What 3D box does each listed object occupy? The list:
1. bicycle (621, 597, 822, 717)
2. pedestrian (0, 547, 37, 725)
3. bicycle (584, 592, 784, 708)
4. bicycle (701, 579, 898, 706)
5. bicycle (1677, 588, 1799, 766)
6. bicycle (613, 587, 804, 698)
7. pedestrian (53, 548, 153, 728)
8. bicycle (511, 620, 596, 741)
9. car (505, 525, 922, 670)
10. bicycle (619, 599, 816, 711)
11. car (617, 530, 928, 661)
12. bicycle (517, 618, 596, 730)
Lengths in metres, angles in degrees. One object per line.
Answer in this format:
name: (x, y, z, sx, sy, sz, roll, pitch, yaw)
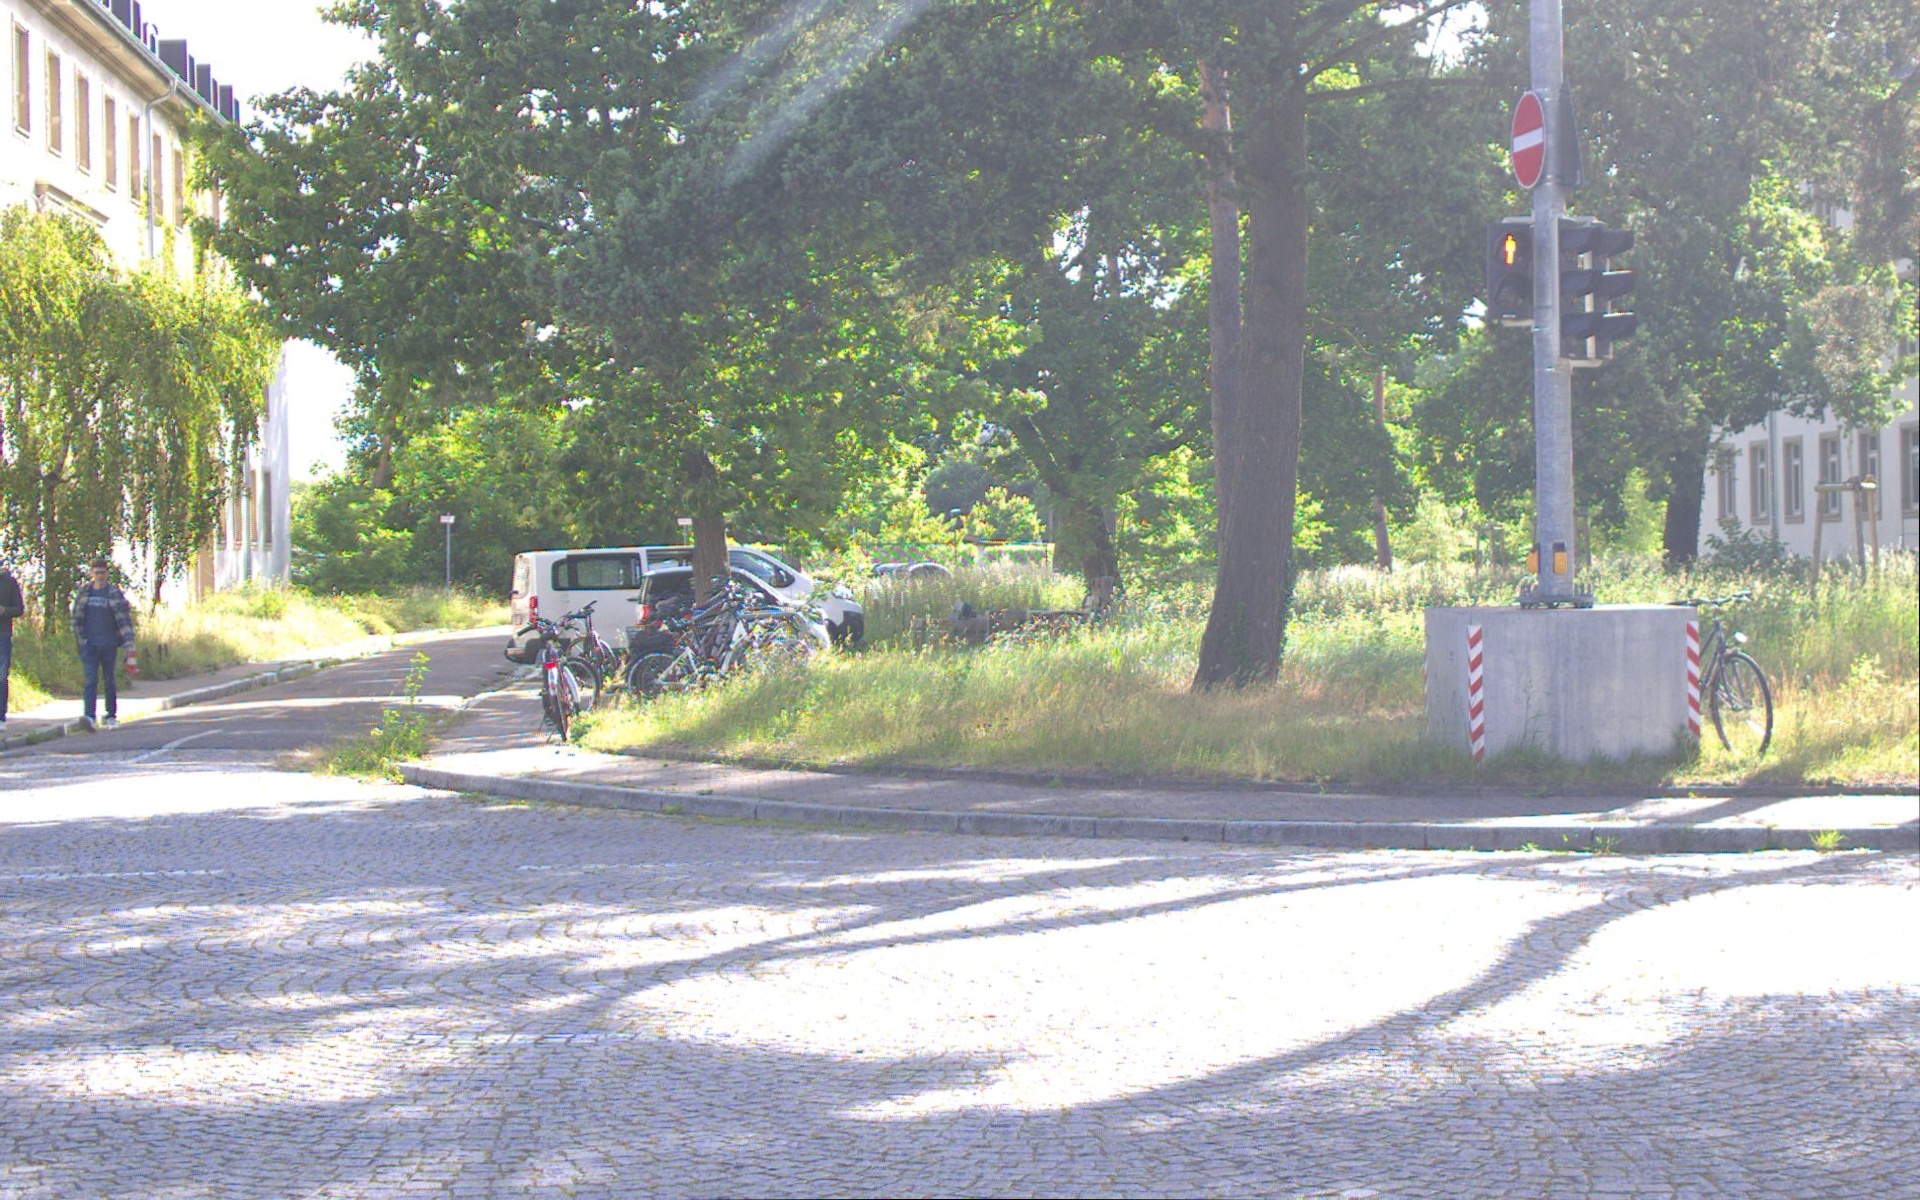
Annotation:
bicycle: (-2.372, 0.557, 34.065, 1.940, 1.125, 0.750, -1, 1, -7)
pedestrian: (-9.989, 0.368, 35.276, 0.812, 1.811, 0.555, -1, 1, 7)
bicycle: (-2.823, 0.504, 35.250, 1.941, 1.125, 0.648, -1, 1, -31)
bicycle: (-1.628, 0.423, 34.809, 1.940, 1.231, 0.485, -1, 1, -7)
bicycle: (4.869, 0.466, 21.562, 0.466, 1.076, 1.174, -1, 0, -1)
bicycle: (-2.664, 0.443, 36.361, 1.940, 1.125, 0.648, -1, 1, -9)
pedestrian: (-8.777, 0.384, 35.211, 0.767, 1.811, 0.682, -1, 1, 7)
bicycle: (-3.499, 0.678, 29.707, 0.695, 0.968, 1.861, 0, 1, -6)
car: (-3.721, -0.059, 51.313, 5.929, 2.007, 2.476, -1, 1, -11)
bicycle: (-2.354, 0.524, 33.265, 1.854, 1.027, 0.750, -1, 1, -7)
car: (-2.583, -0.081, 47.025, 3.986, 1.678, 1.848, -1, 1, -12)
bicycle: (-3.700, 0.664, 31.641, 0.695, 0.968, 1.861, 0, 1, -6)
